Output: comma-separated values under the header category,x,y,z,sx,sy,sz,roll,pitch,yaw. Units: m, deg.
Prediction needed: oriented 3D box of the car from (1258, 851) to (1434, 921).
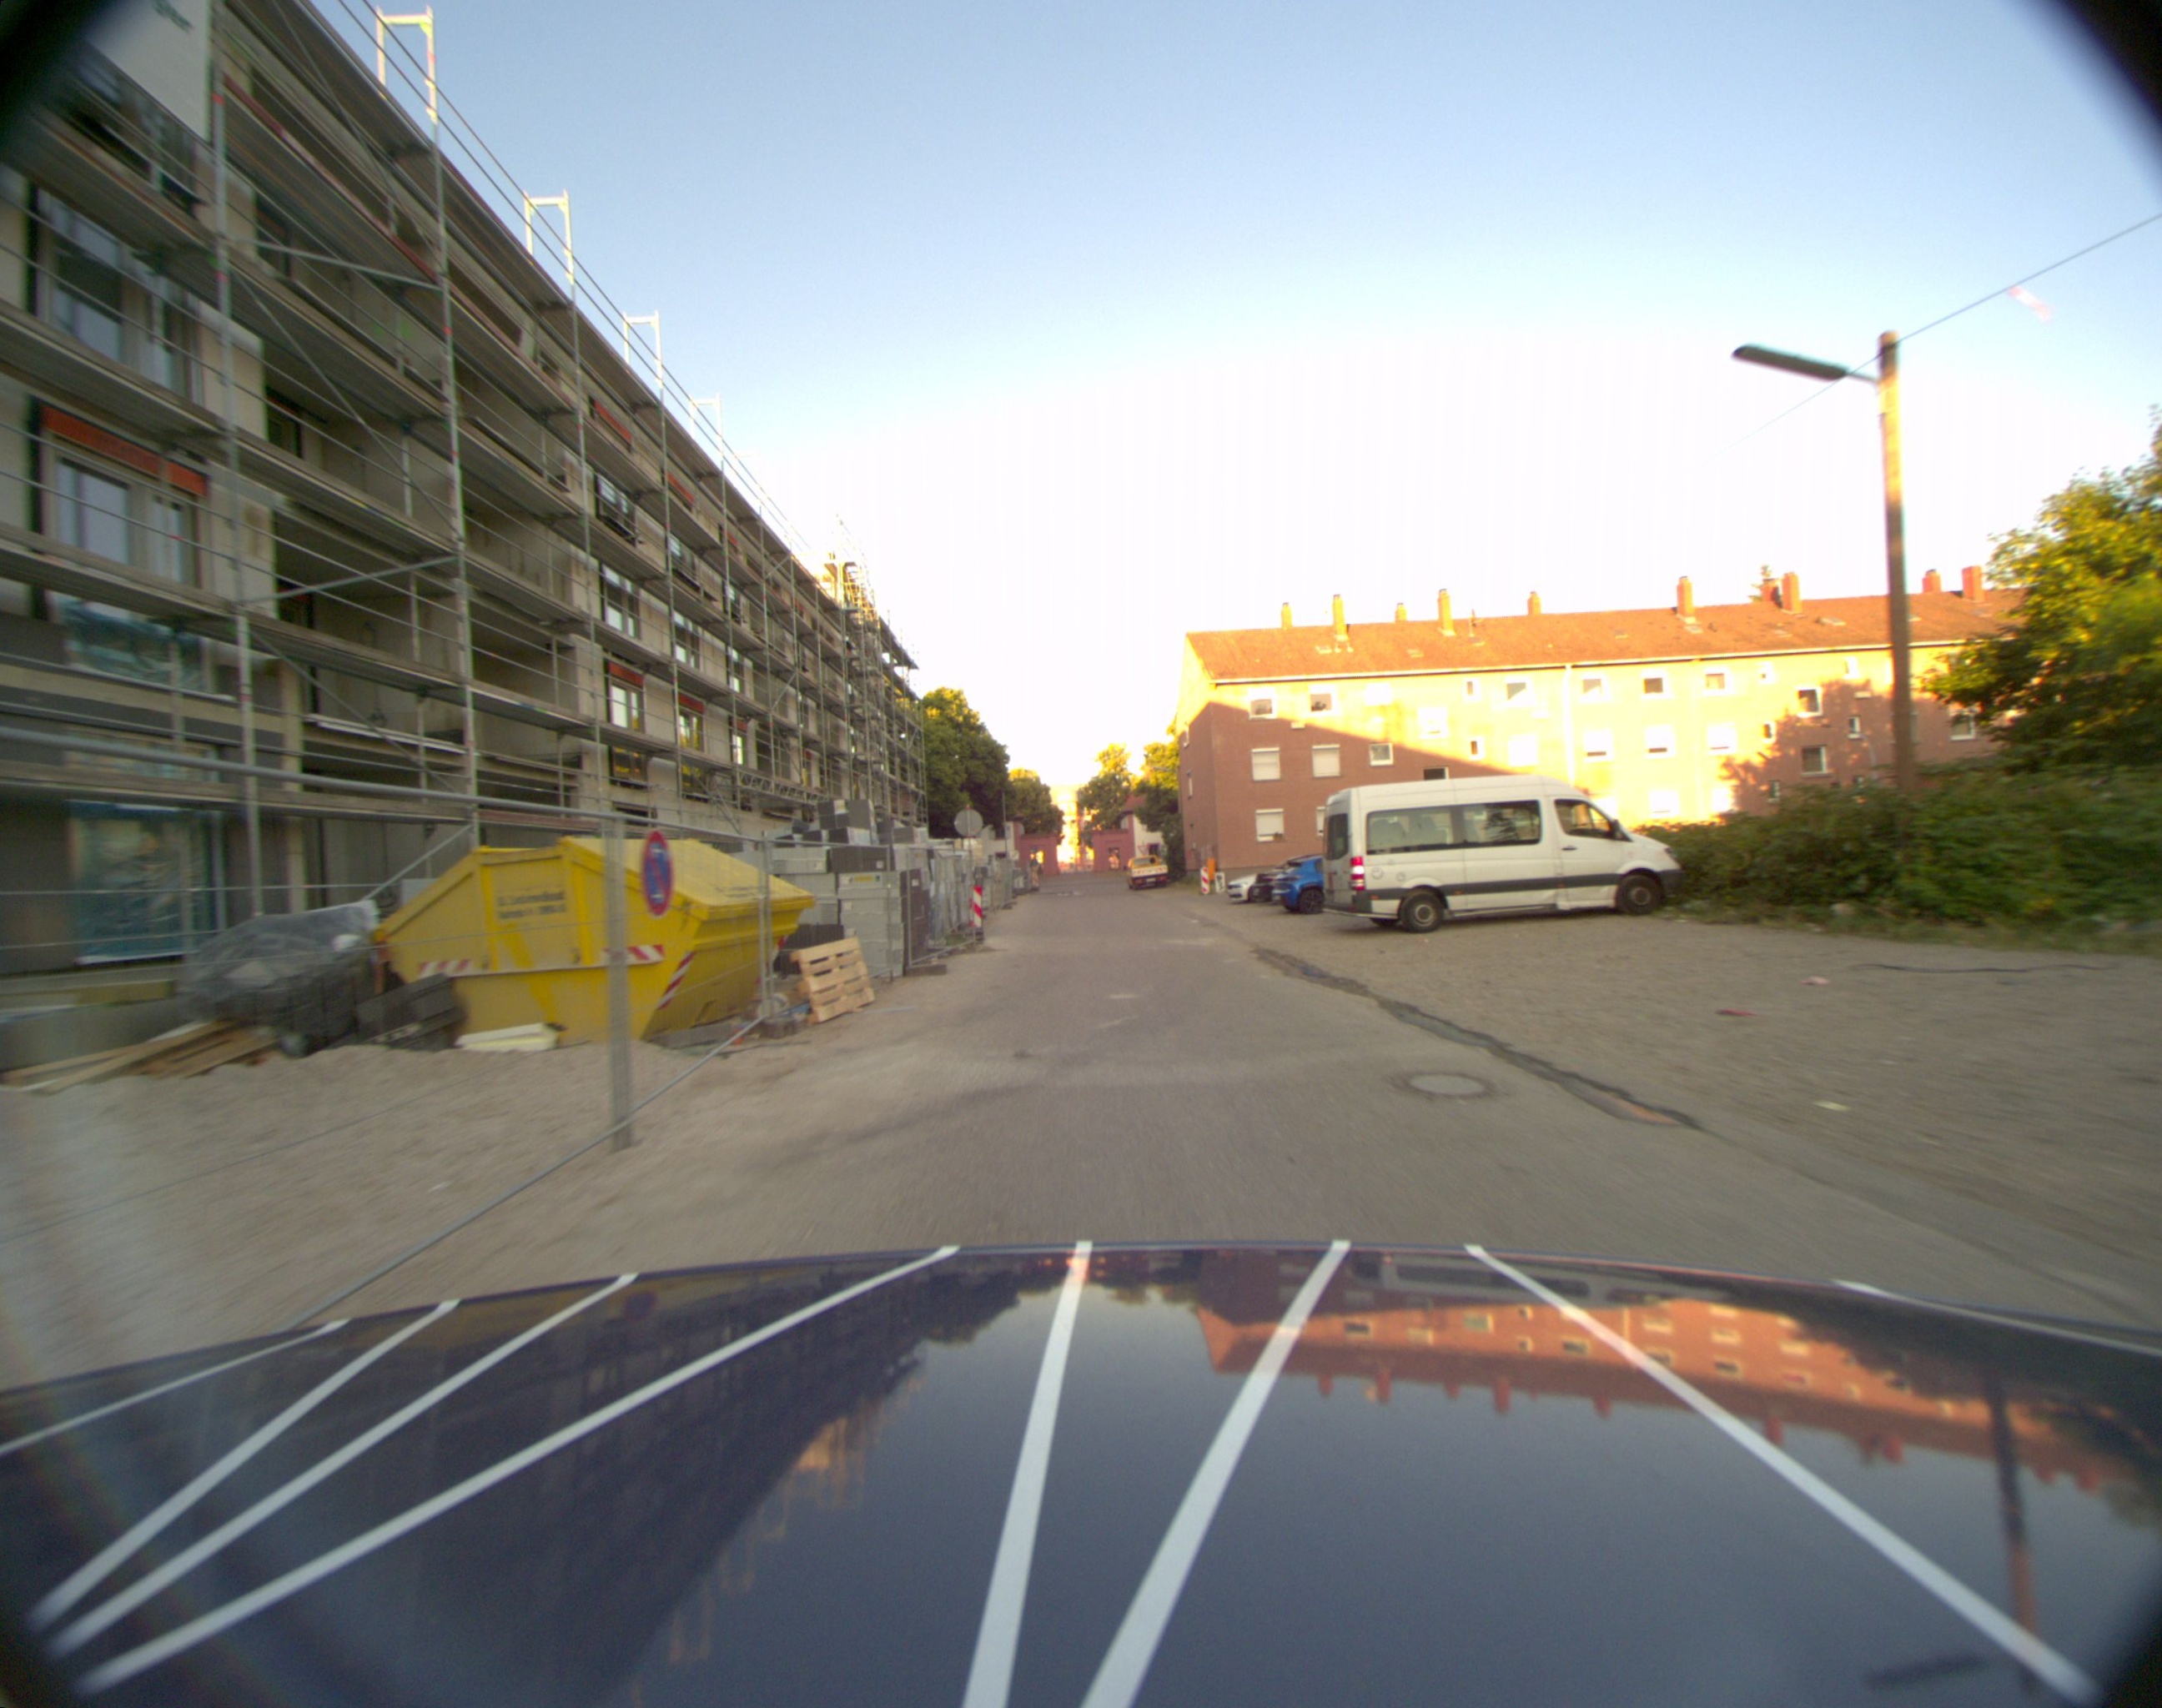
category,x,y,z,sx,sy,sz,roll,pitch,yaw
car,6.770,0.798,19.666,3.847,1.421,1.727,-4,0,-3

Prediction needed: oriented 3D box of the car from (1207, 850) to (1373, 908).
category,x,y,z,sx,sy,sz,roll,pitch,yaw
car,7.105,0.841,26.209,5.008,1.535,2.115,-4,0,-4

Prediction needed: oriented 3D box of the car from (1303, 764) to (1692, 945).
category,x,y,z,sx,sy,sz,roll,pitch,yaw
car,7.303,0.023,13.900,5.702,2.610,2.222,-4,0,2

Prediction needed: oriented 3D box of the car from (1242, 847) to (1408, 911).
category,x,y,z,sx,sy,sz,roll,pitch,yaw
car,7.390,0.739,23.240,4.429,1.535,1.727,-4,0,-4

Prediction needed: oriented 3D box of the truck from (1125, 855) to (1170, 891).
category,x,y,z,sx,sy,sz,roll,pitch,yaw
truck,3.935,1.103,46.023,2.039,1.902,5.661,-5,0,-1
